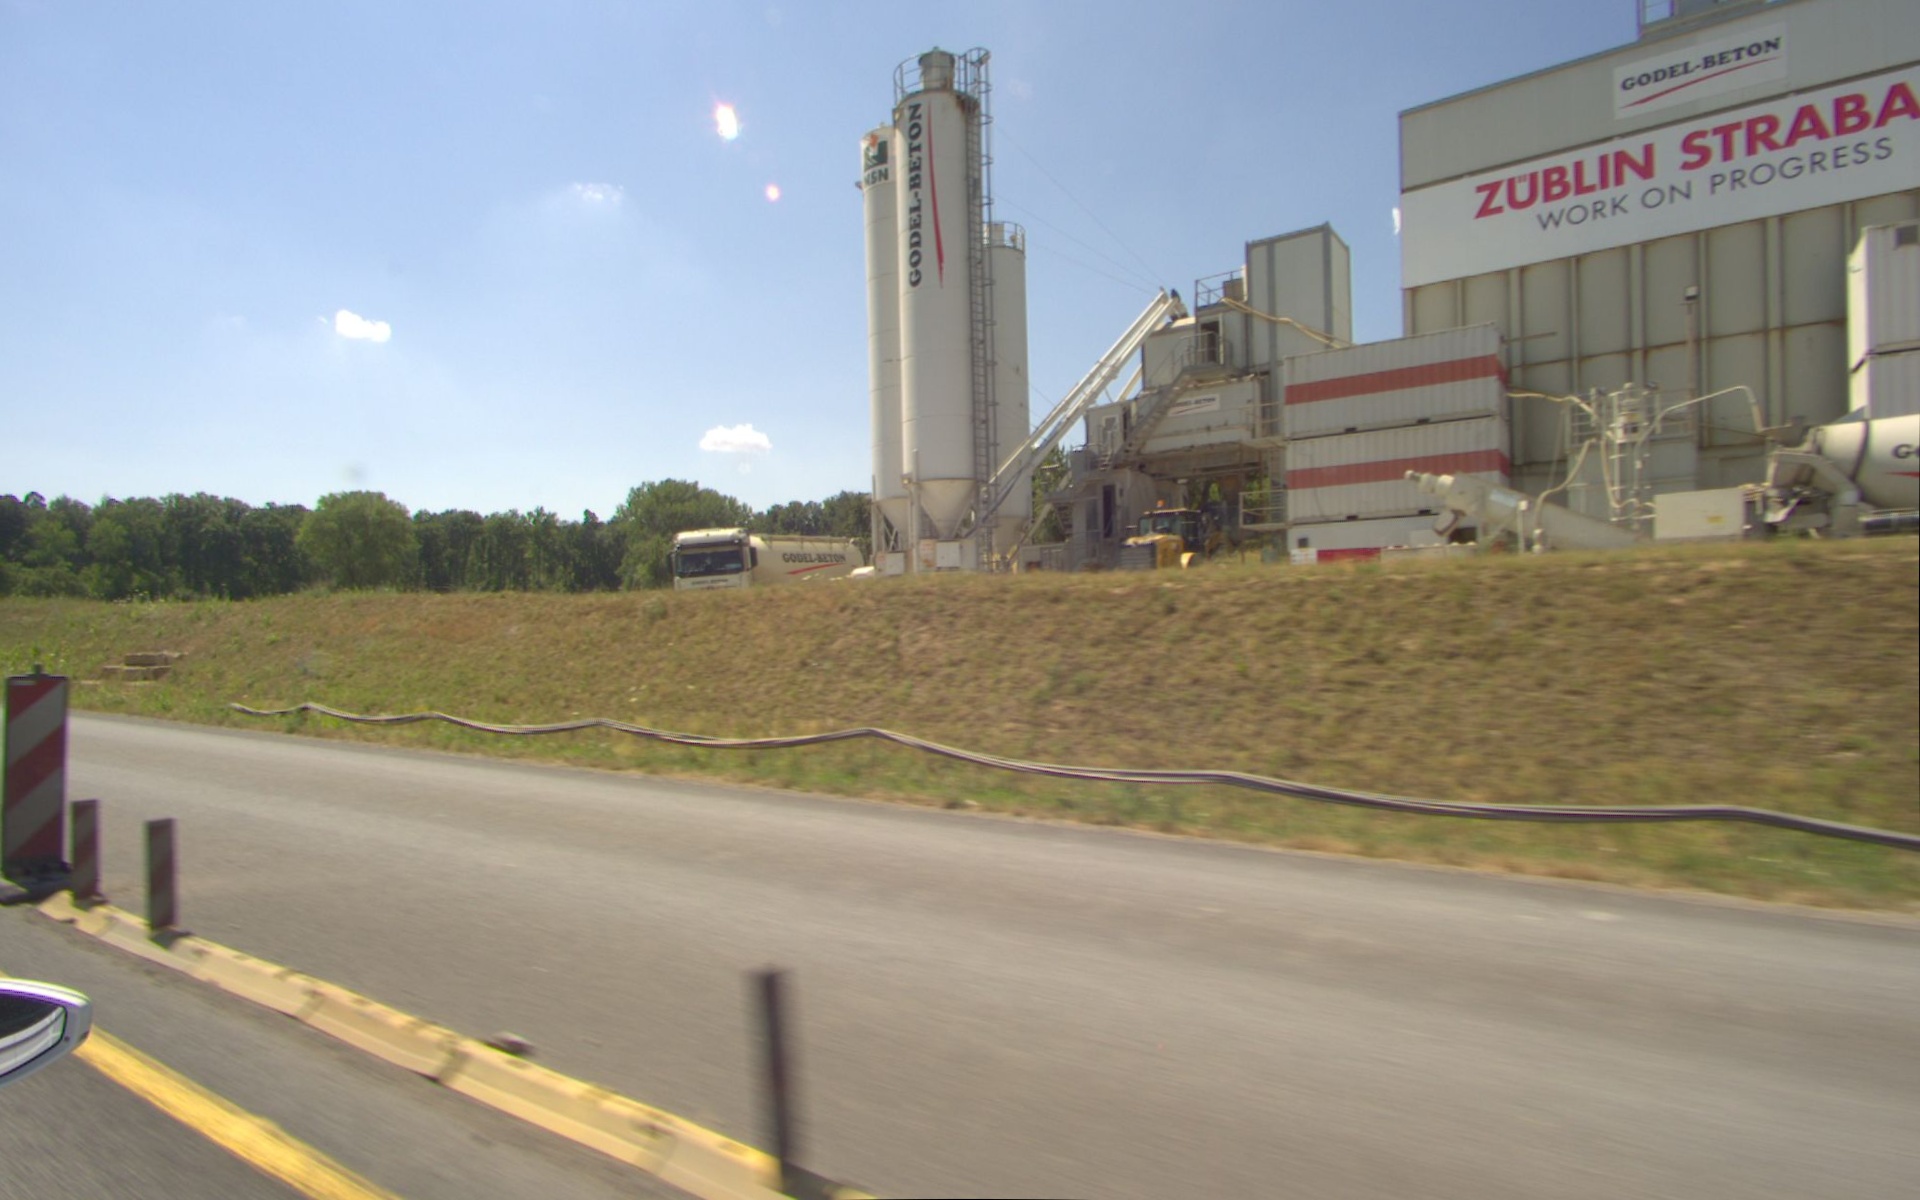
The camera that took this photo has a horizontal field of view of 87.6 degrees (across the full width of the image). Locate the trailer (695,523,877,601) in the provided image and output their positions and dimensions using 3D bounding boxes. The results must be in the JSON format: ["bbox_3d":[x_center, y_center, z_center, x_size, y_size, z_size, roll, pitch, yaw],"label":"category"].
[{"bbox_3d":[-6.845,-1.387,41.134,2.426,2.640,8.888,-1,-1,28],"label":"trailer"}]

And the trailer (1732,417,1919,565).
[{"bbox_3d":[19.977,-2.254,20.212,6.845,2.678,1.988,-1,-2,36],"label":"trailer"}]

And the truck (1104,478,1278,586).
[{"bbox_3d":[8.383,-2.167,35.309,2.429,2.904,9.041,-1,-2,38],"label":"truck"}]

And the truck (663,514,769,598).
[{"bbox_3d":[-8.595,-1.449,35.830,2.849,2.576,5.310,0,-2,-4],"label":"truck"}]
